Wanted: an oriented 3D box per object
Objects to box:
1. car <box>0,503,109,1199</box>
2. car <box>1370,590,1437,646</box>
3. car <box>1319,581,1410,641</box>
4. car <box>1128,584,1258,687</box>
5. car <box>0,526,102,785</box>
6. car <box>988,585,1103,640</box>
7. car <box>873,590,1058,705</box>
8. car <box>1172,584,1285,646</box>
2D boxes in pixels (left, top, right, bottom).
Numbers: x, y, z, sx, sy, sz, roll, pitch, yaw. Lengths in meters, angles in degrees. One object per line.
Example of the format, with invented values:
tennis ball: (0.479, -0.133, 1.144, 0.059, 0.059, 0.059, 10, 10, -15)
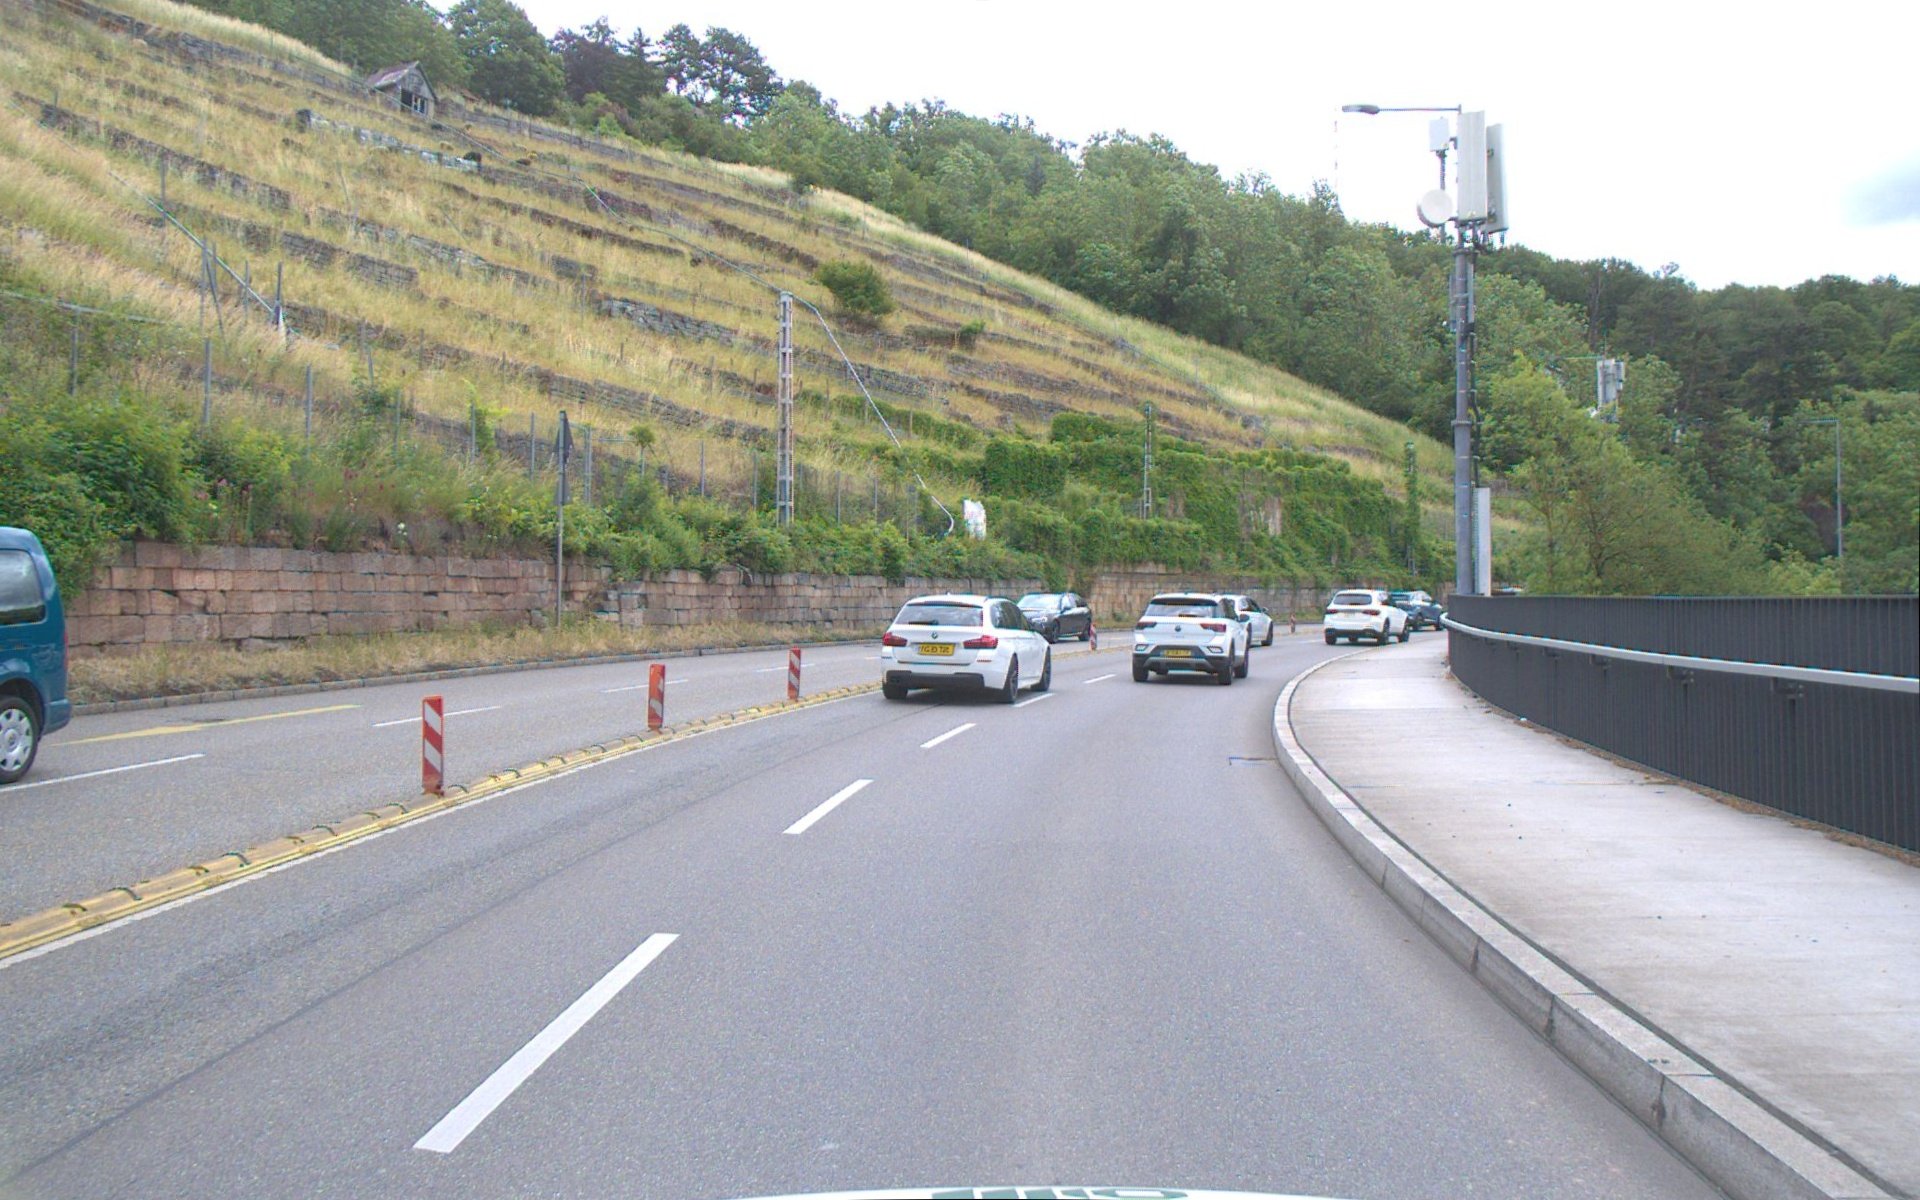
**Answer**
car: (-2.443, 0.653, 0.775, 1.783, 1.608, 4.356, 1, 1, 0)
car: (17.528, 0.702, 65.203, 1.953, 2.049, 3.999, -3, -2, 23)
car: (12.458, 0.383, 50.755, 1.954, 1.748, 4.110, -1, -2, 25)
car: (4.311, 0.571, 30.139, 1.789, 1.633, 4.003, 3, 2, 15)
car: (-7.704, 0.377, 10.412, 1.812, 1.813, 4.736, 2, 1, 4)
car: (2.559, 0.322, 48.345, 1.814, 1.438, 4.413, 2, 2, 25)
car: (0.199, 0.629, 24.152, 1.789, 1.485, 4.489, 1, 0, 12)
car: (7.652, 0.425, 46.740, 1.954, 1.529, 4.665, 4, 1, 24)
